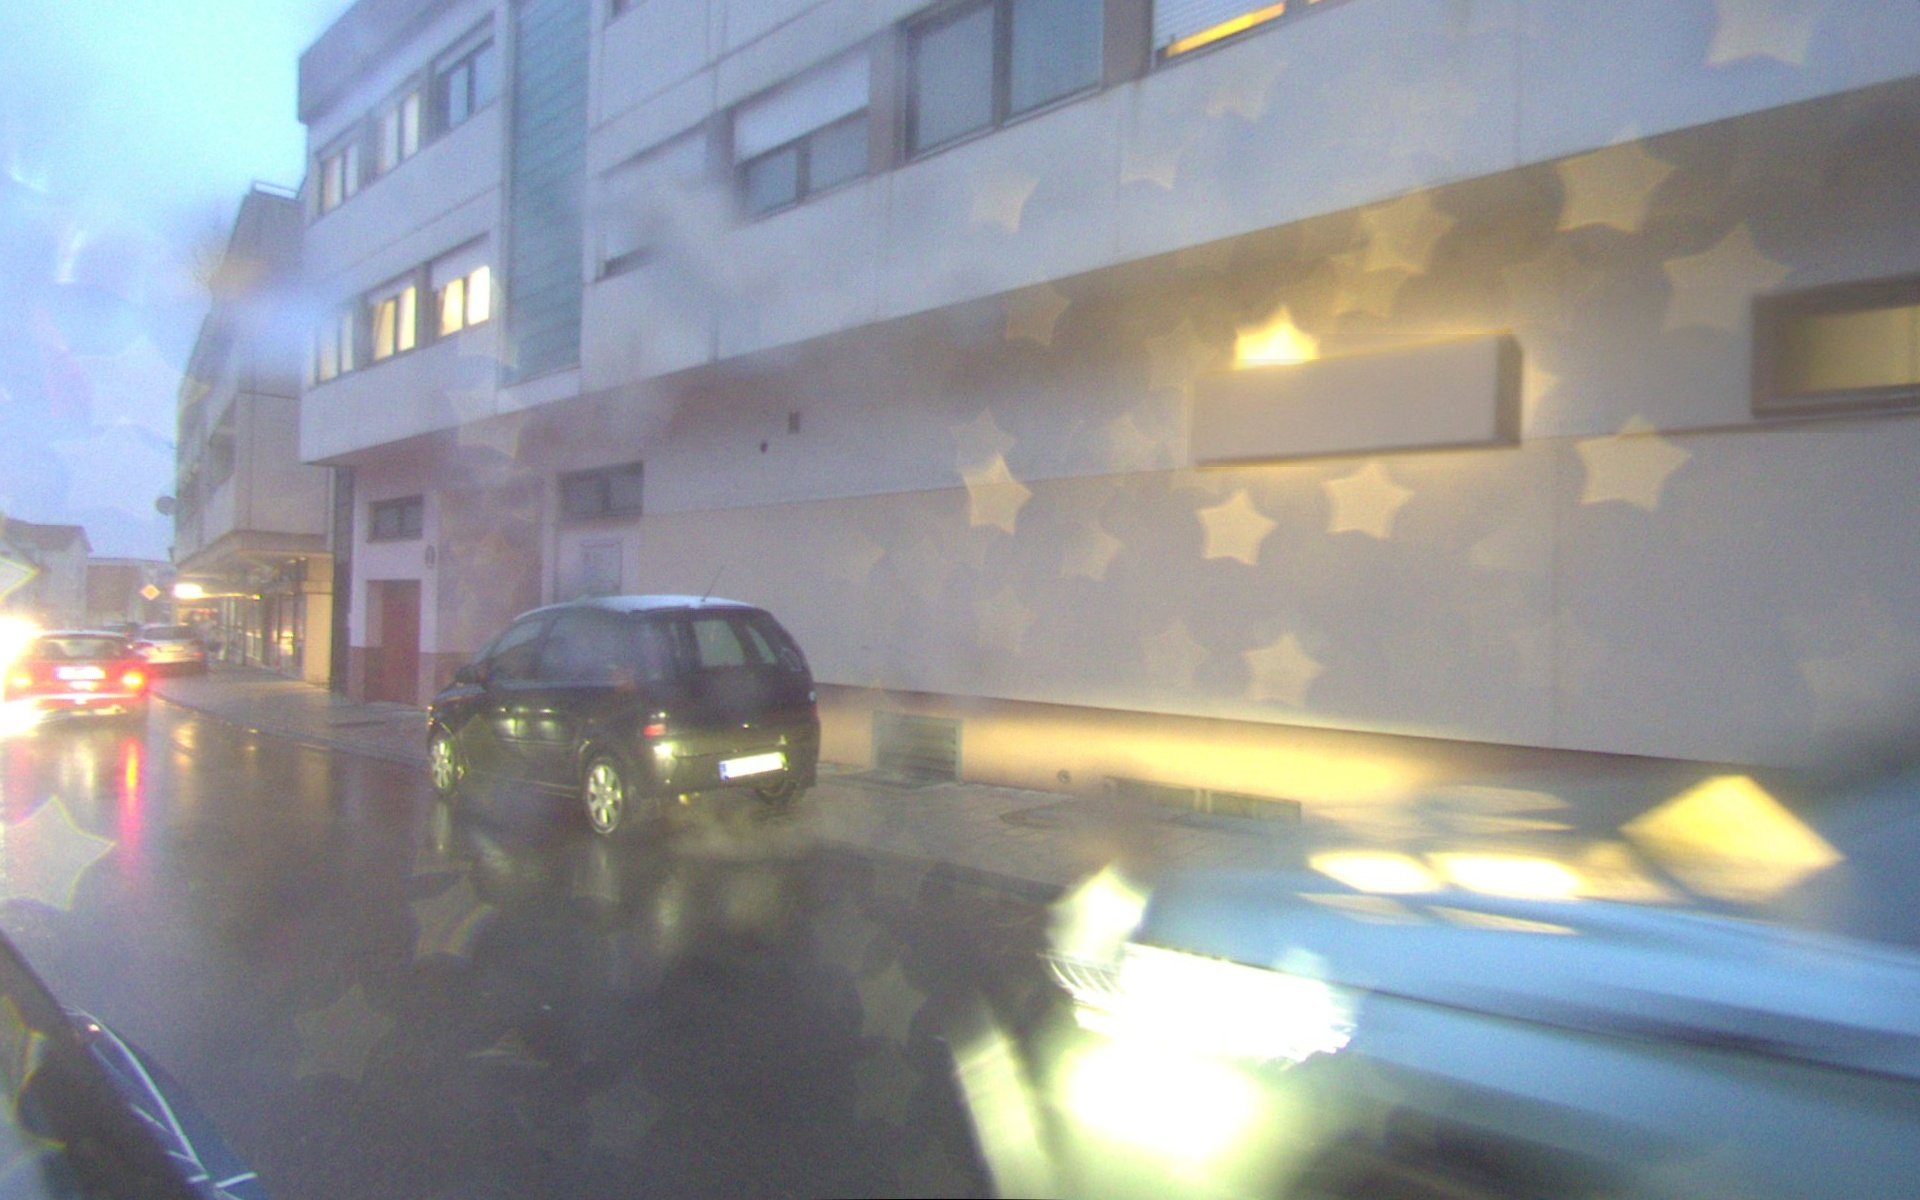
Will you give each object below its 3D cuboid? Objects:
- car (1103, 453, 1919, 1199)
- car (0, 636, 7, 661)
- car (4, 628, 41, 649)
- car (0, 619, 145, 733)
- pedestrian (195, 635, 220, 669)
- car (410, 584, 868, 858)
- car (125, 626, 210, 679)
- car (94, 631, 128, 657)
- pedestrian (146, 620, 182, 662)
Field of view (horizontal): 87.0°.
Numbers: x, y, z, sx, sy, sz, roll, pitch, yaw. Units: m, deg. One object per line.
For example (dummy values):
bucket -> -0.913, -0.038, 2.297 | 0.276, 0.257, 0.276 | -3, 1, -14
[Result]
car -> 2.516, 0.639, 1.034 | 4.392, 1.608, 1.794 | -2, -2, 37
car -> -60.380, 2.981, 62.644 | 1.772, 1.522, 4.005 | 4, -4, -41
car -> -72.566, 2.982, 78.382 | 1.771, 1.522, 4.007 | 4, -4, -39
car -> -13.817, 1.078, 15.540 | 3.407, 1.547, 1.619 | -2, -2, 44
pedestrian -> -30.579, 2.096, 41.126 | 0.746, 1.320, 0.829 | 0, -1, -43
car -> -2.696, 0.773, 8.067 | 3.810, 1.655, 1.775 | -2, -1, 41
car -> -23.636, 1.530, 30.121 | 1.655, 1.457, 4.433 | 2, -3, -42
car -> -57.165, 2.942, 68.151 | 1.699, 1.626, 3.822 | -1, -1, -40
pedestrian -> -37.233, 1.922, 47.364 | 1.182, 1.953, 0.979 | 2, -3, -33
